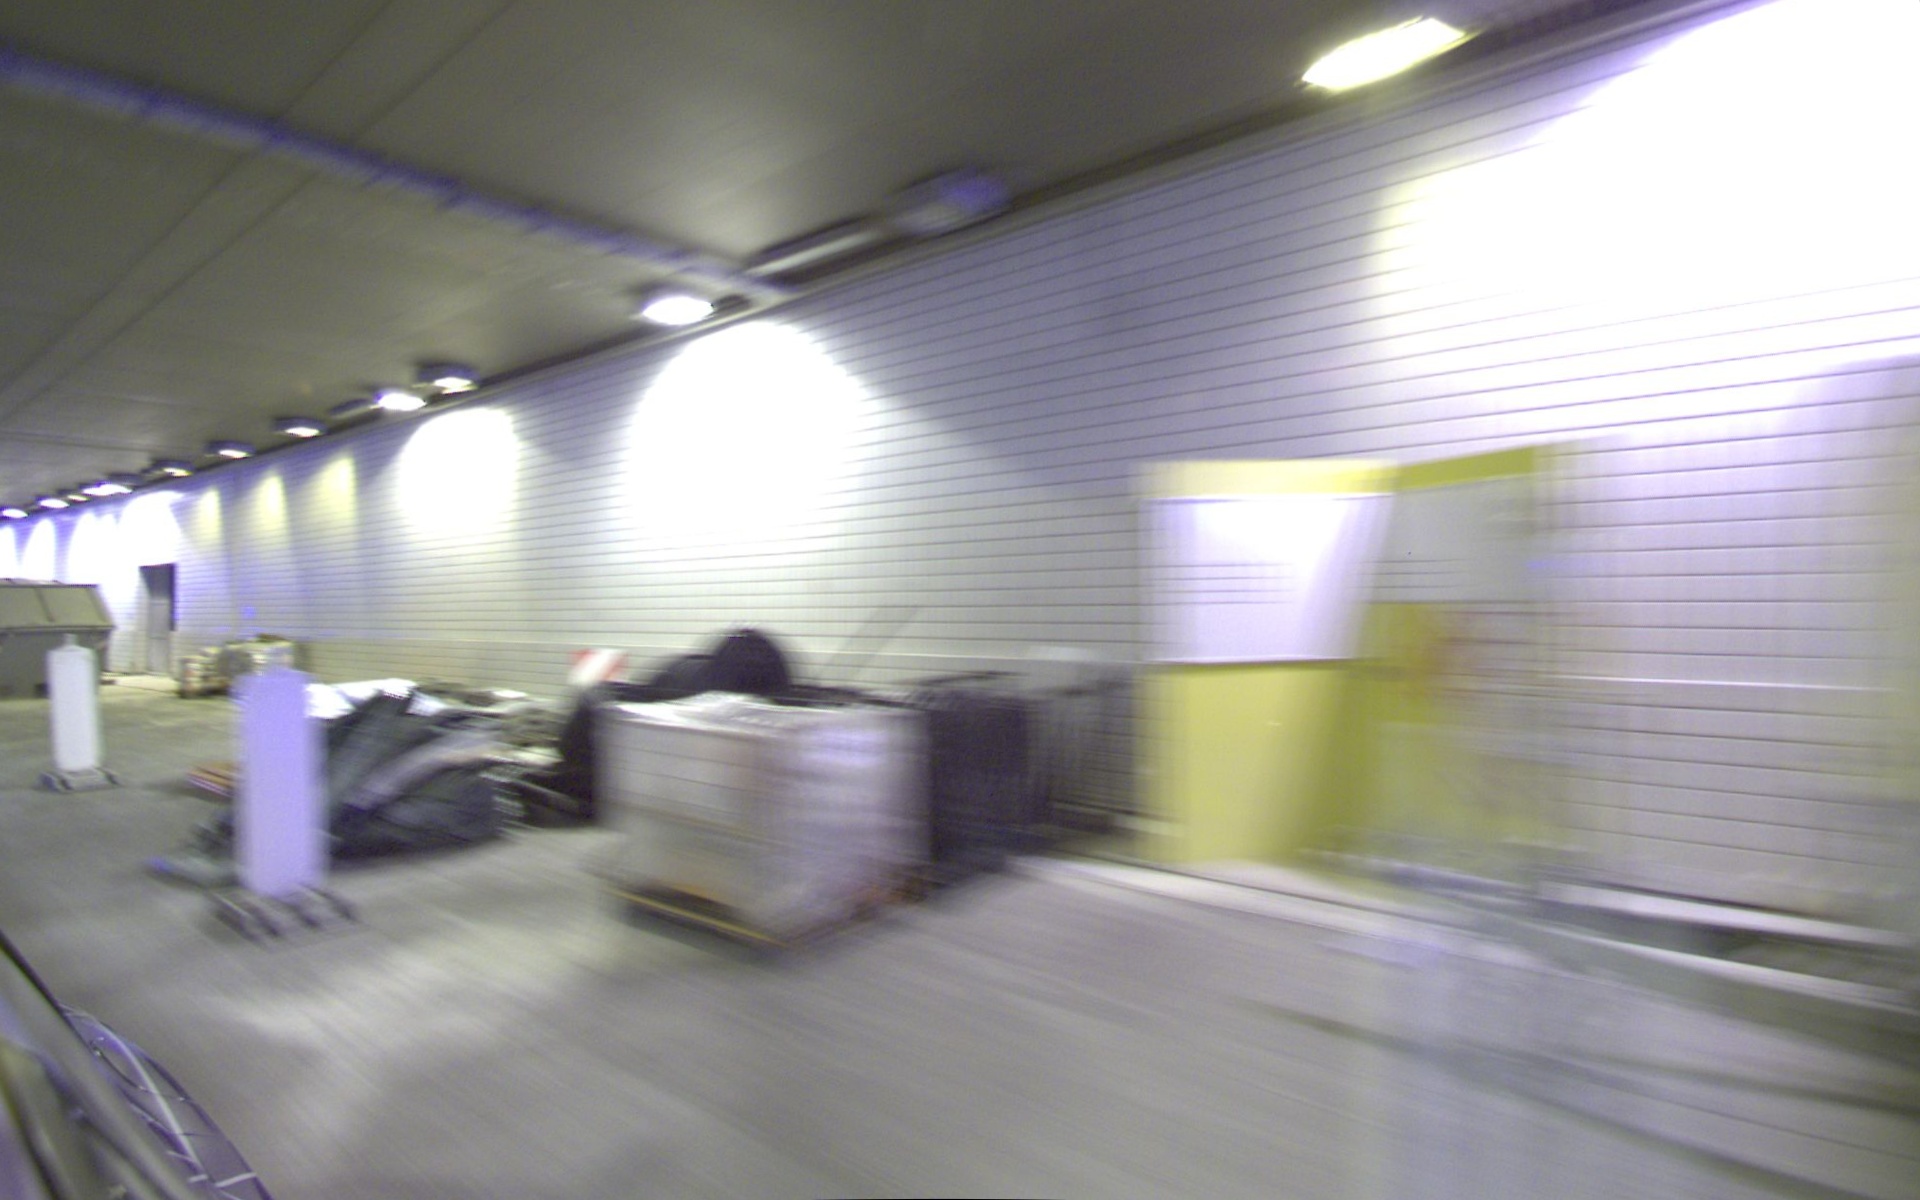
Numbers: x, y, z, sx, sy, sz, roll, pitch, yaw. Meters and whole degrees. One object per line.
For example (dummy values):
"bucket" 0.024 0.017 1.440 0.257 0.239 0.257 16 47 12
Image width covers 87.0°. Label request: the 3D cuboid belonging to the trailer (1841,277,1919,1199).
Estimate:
"trailer" 3.819 0.401 1.664 3.462 2.029 2.186 0 0 39
